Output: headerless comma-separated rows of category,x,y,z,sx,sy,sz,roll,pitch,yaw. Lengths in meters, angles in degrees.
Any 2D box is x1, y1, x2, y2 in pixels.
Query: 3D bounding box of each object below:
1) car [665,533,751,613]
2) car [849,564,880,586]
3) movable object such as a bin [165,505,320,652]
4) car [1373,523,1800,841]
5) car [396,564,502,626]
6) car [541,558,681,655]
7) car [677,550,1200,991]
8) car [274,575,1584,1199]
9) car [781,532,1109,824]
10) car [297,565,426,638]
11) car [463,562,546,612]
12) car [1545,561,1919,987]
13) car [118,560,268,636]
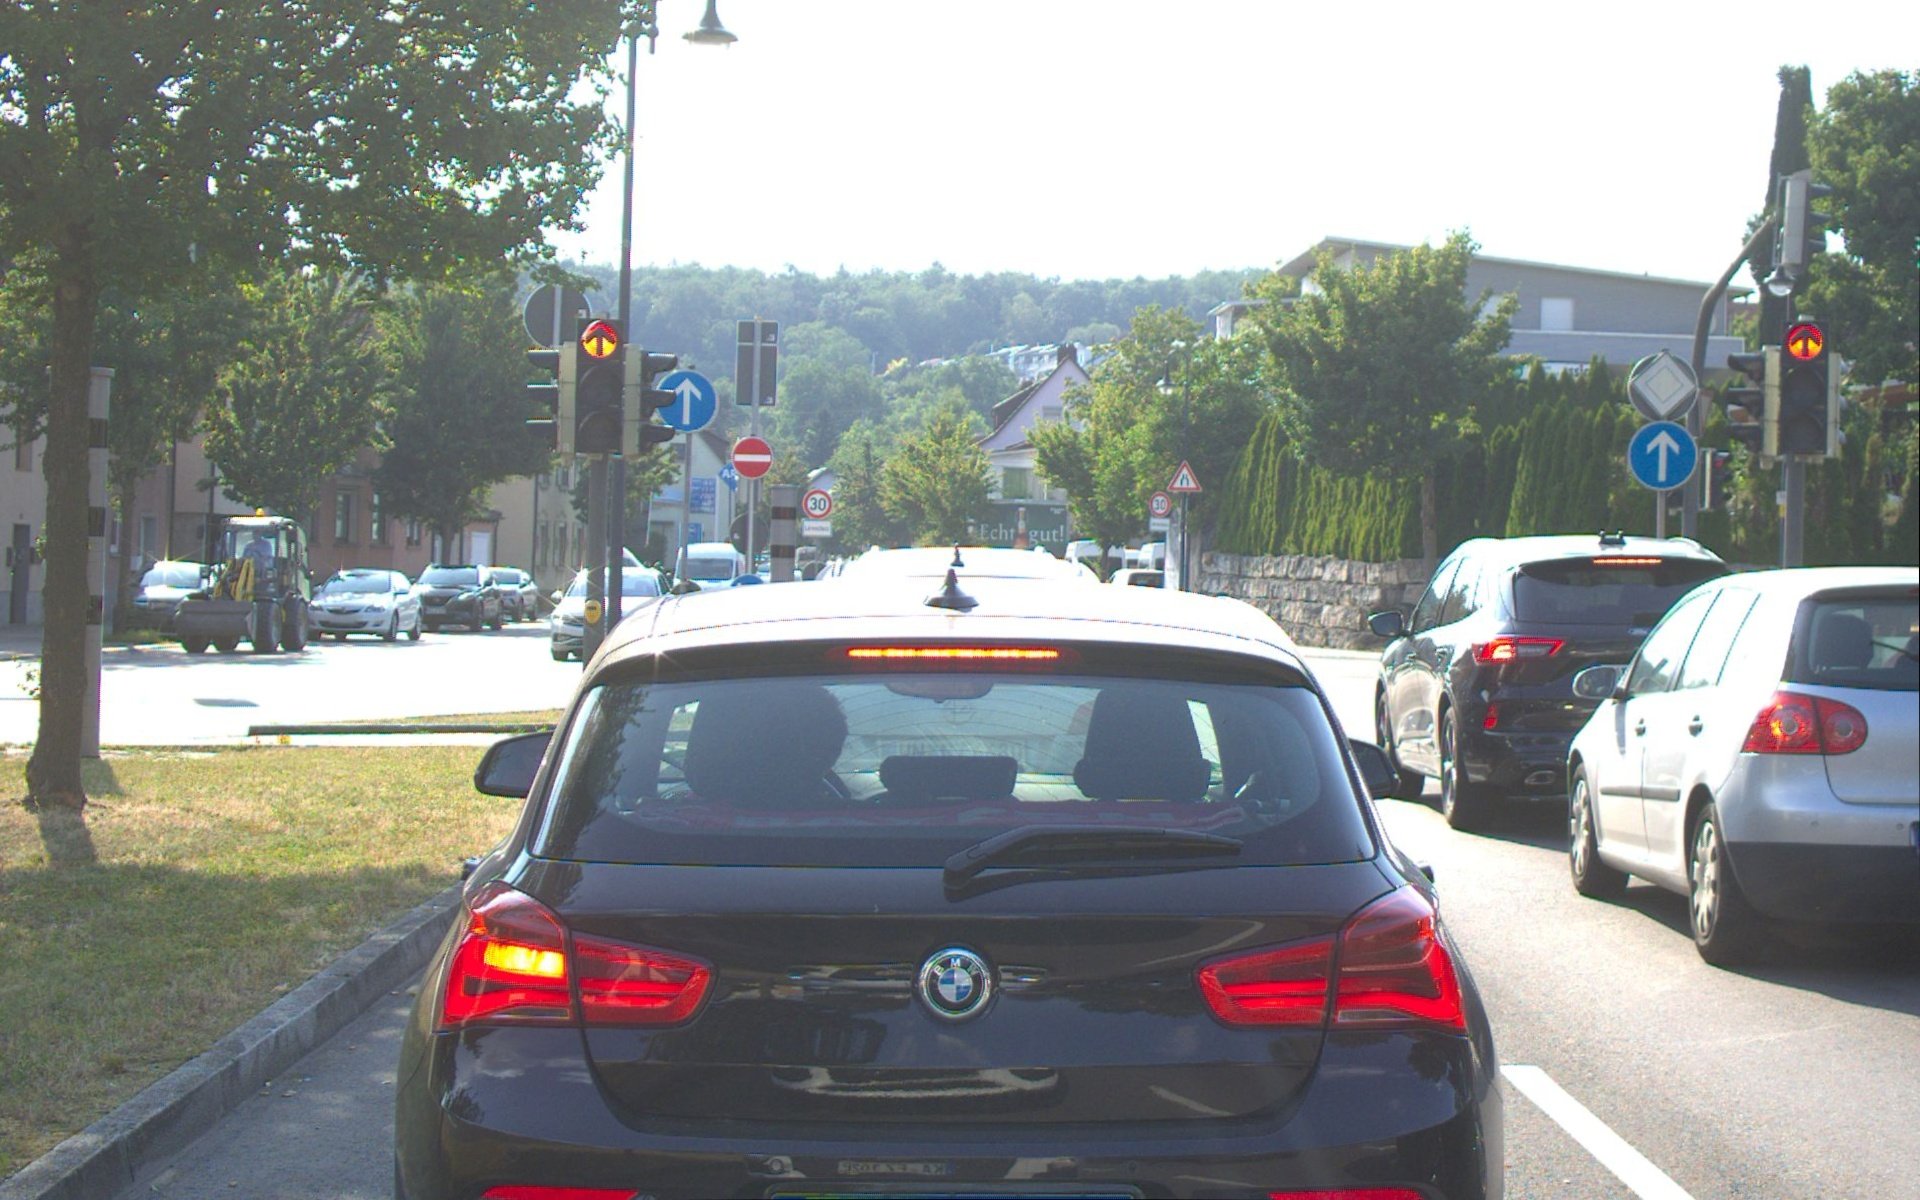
car,-7.811,-0.850,106.923,2.084,2.385,5.528,1,1,1
car,-6.439,-1.696,231.958,1.737,1.296,3.799,5,1,2
movable object such as a bin,-12.328,-0.382,59.302,1.736,2.433,4.450,0,1,0
car,3.530,0.397,20.027,1.761,1.650,3.903,-1,1,0
car,-12.286,-0.146,82.826,1.737,1.296,3.799,5,1,2
car,-5.593,0.074,55.517,1.839,1.477,4.000,1,1,0
car,-0.072,0.558,14.007,1.788,1.488,4.281,-1,1,0
car,-0.035,0.679,6.862,1.788,1.393,4.281,-1,1,0
car,-0.079,0.393,21.047,1.788,1.588,4.281,-1,1,0
car,-12.254,0.014,70.620,1.737,1.296,3.799,5,1,2
car,-13.600,-0.406,102.866,1.737,1.296,3.799,5,1,2
car,3.557,0.576,13.745,1.761,1.421,3.903,-1,1,0
car,-14.937,-0.062,67.156,1.737,1.296,4.000,5,1,3
